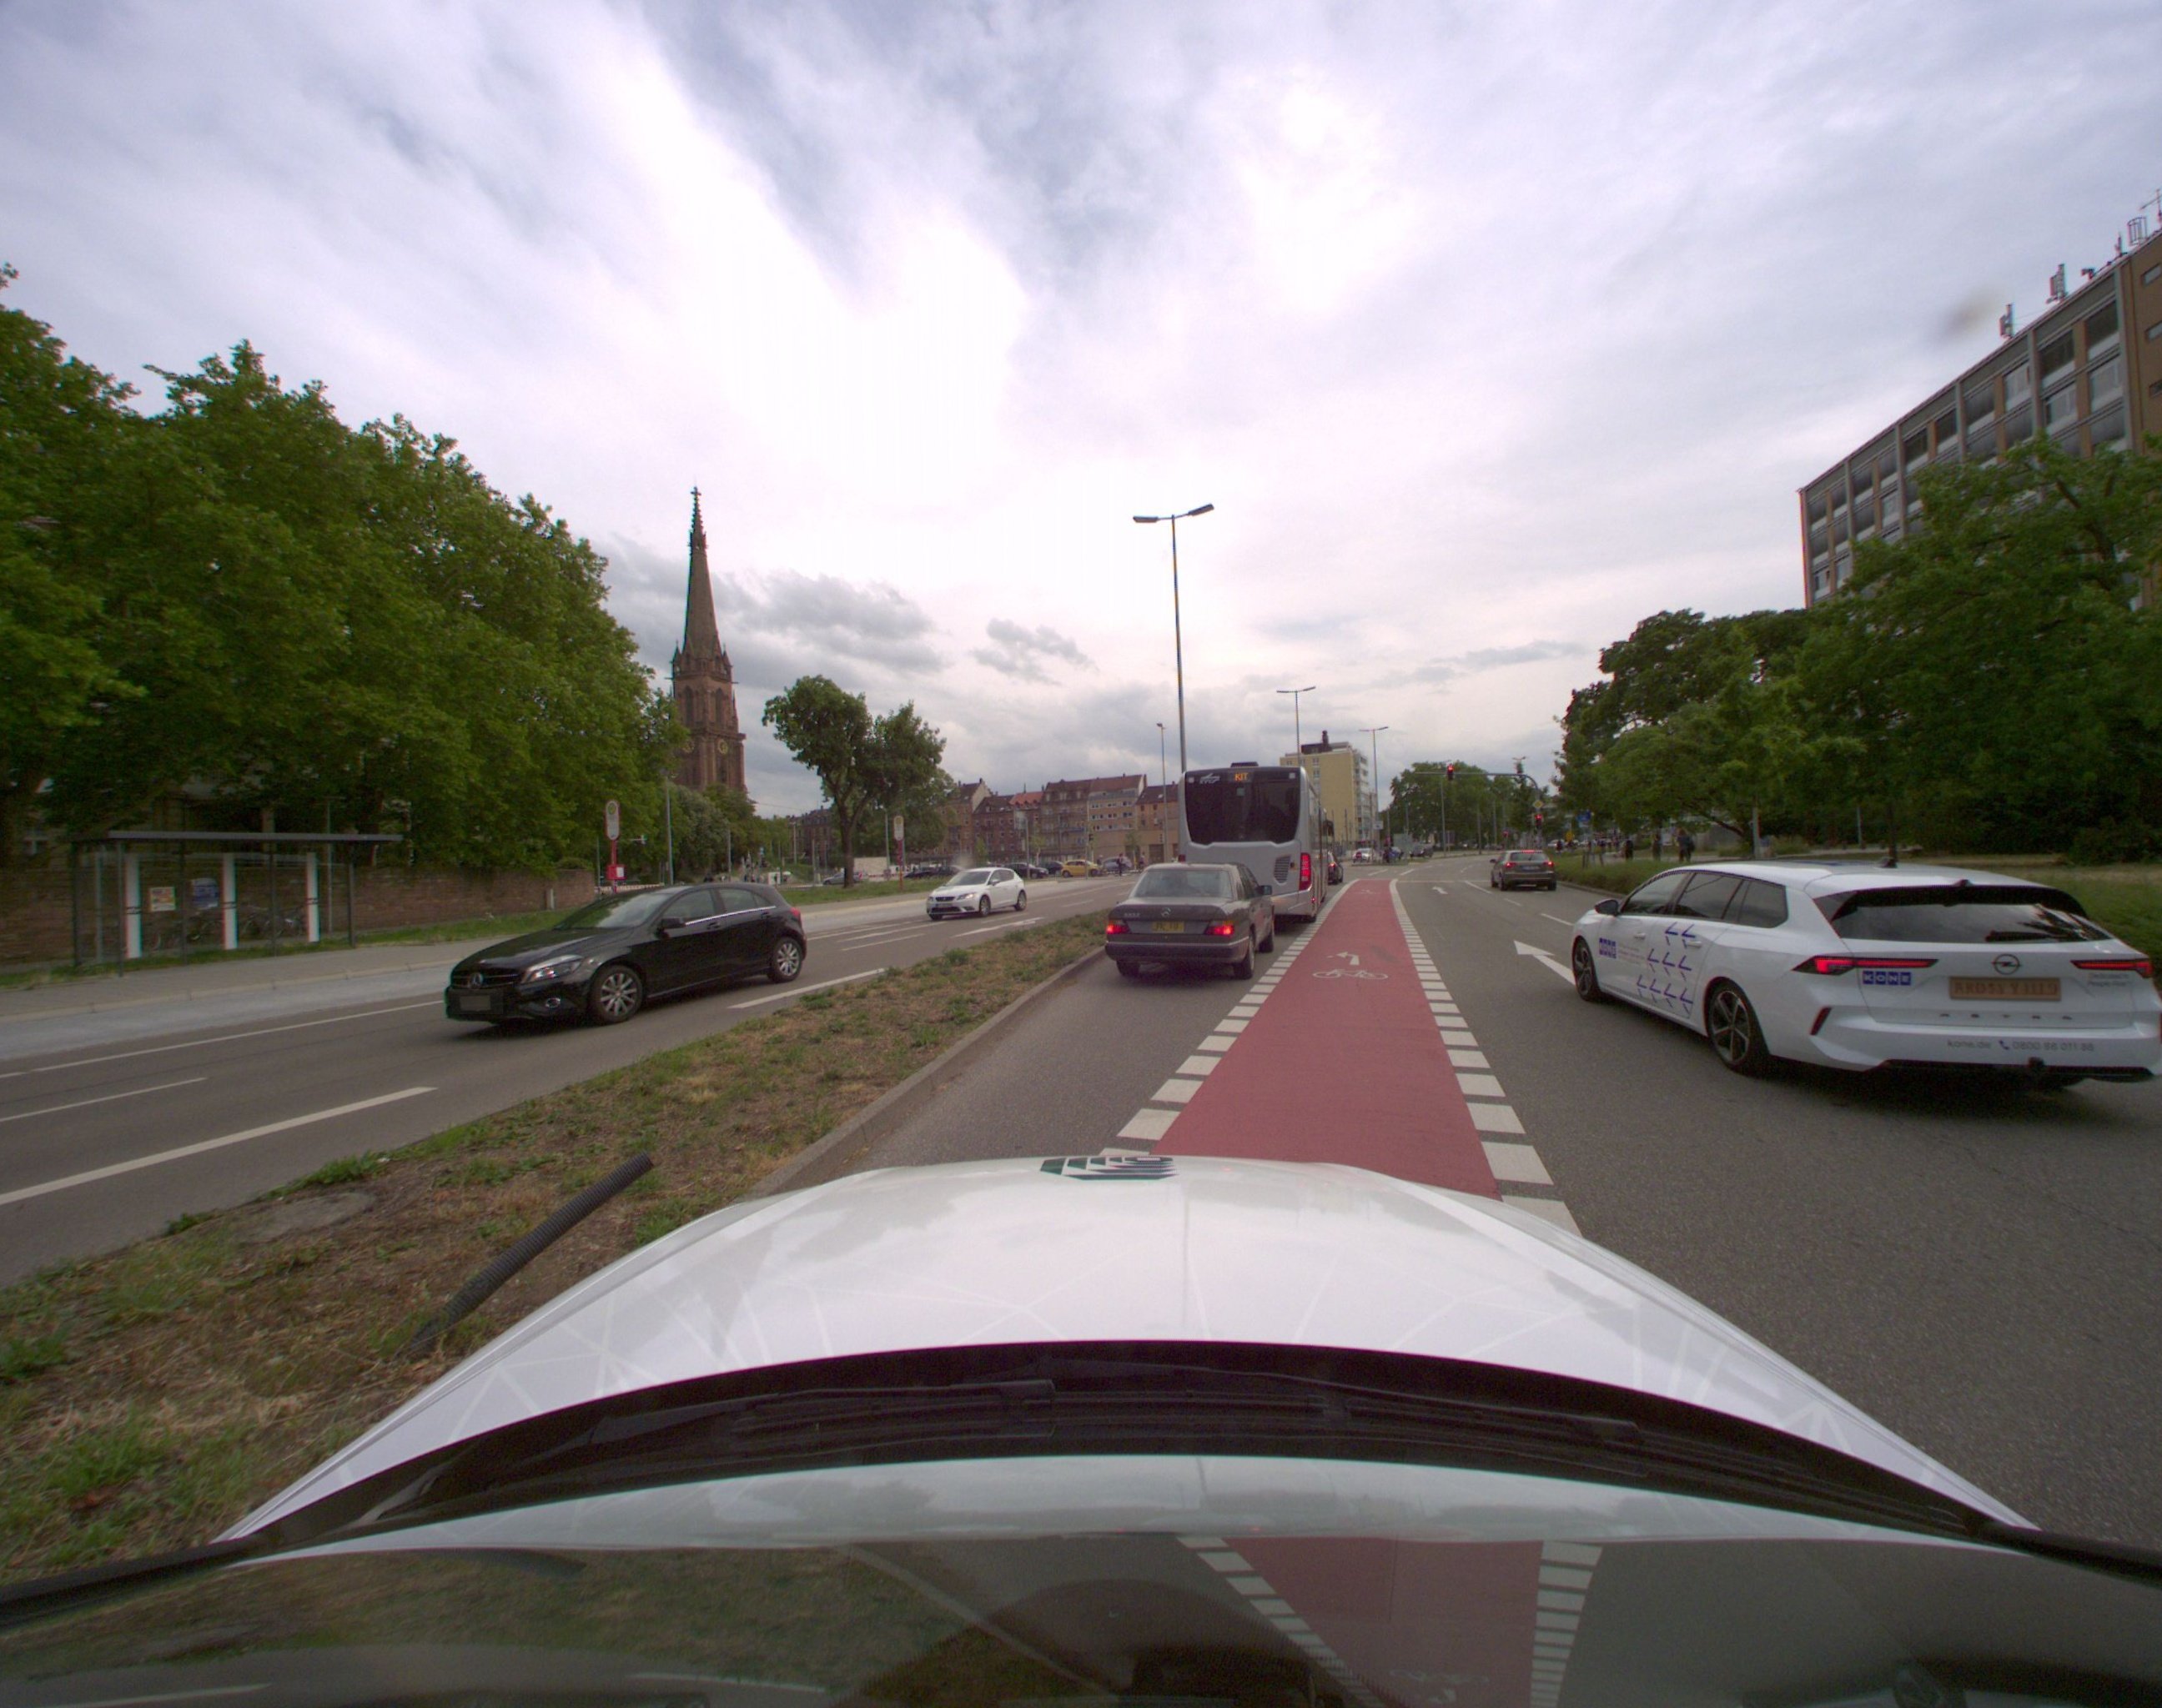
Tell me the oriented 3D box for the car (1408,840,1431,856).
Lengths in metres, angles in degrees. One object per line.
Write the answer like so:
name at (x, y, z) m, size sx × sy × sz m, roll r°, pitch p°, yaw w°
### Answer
car at (47.390, -0.875, 113.977) m, size 1.974 × 2.013 × 4.026 m, roll -3°, pitch 0°, yaw 36°

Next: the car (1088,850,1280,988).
car at (1.619, 0.739, 11.215) m, size 1.747 × 1.489 × 4.191 m, roll -3°, pitch 0°, yaw 19°

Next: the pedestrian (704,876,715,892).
pedestrian at (-37.152, 2.963, 81.428) m, size 0.557 × 1.560 × 0.728 m, roll -3°, pitch -1°, yaw 13°

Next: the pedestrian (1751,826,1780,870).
pedestrian at (23.644, -0.219, 28.143) m, size 0.650 × 1.470 × 0.565 m, roll -3°, pitch -1°, yaw 36°

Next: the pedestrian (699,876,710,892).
pedestrian at (-37.960, 2.982, 82.092) m, size 0.557 × 1.560 × 0.728 m, roll -3°, pitch -1°, yaw 13°

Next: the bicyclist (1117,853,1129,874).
bicyclist at (3.394, 0.739, 65.316) m, size 0.780 × 1.643 × 0.575 m, roll -3°, pitch -1°, yaw 19°

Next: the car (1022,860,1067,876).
car at (-3.309, 1.288, 74.386) m, size 3.736 × 1.394 × 1.591 m, roll -1°, pitch 0°, yaw 14°

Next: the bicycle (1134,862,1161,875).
bicycle at (5.250, 1.158, 64.381) m, size 1.949 × 0.982 × 0.634 m, roll -3°, pitch -1°, yaw 16°

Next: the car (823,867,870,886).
car at (-23.212, 2.242, 80.583) m, size 4.124 × 1.649 × 1.653 m, roll -3°, pitch 0°, yaw 13°

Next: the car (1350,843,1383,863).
car at (33.363, -0.175, 95.067) m, size 2.558 × 2.109 × 5.636 m, roll -3°, pitch 0°, yaw 30°

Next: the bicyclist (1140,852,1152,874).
bicyclist at (5.125, 0.700, 64.417) m, size 0.780 × 1.643 × 0.616 m, roll -3°, pitch -1°, yaw 17°

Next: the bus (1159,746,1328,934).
bus at (4.171, -0.260, 19.103) m, size 2.809 × 3.390 × 8.221 m, roll -2°, pitch 0°, yaw 18°

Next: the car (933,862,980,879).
car at (-10.983, 1.437, 71.762) m, size 3.736 × 1.394 × 1.591 m, roll -1°, pitch 0°, yaw 14°

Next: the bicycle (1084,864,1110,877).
bicycle at (1.273, 1.361, 66.172) m, size 1.950 × 0.982 × 0.633 m, roll -3°, pitch -1°, yaw 14°

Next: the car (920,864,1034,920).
car at (-3.089, 1.125, 25.173) m, size 1.682 × 1.443 × 4.196 m, roll -3°, pitch -1°, yaw 20°

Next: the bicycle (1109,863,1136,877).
bicycle at (3.329, 1.279, 65.328) m, size 1.948 × 0.982 × 0.634 m, roll -3°, pitch -1°, yaw 18°

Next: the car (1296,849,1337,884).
car at (10.706, 0.533, 36.977) m, size 1.642 × 1.396 × 3.877 m, roll -2°, pitch 0°, yaw 17°

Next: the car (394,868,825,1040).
car at (-5.315, 1.033, 9.991) m, size 1.740 × 1.489 × 4.399 m, roll -4°, pitch -1°, yaw 20°

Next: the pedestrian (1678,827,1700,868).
pedestrian at (25.867, -0.282, 34.638) m, size 0.640 × 1.713 × 0.565 m, roll -3°, pitch -1°, yaw 34°

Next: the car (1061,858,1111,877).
car at (0.442, 1.155, 68.886) m, size 3.828 × 1.517 × 1.667 m, roll -1°, pitch 0°, yaw 14°

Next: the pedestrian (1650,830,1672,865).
pedestrian at (29.498, -0.328, 41.399) m, size 0.794 × 1.713 × 0.770 m, roll -3°, pitch -1°, yaw 32°

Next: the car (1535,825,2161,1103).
car at (5.483, 0.586, 6.718) m, size 1.728 × 1.439 × 4.799 m, roll -2°, pitch 0°, yaw 13°

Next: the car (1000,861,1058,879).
car at (-4.471, 1.351, 70.064) m, size 4.635 × 1.475 × 1.667 m, roll -1°, pitch 0°, yaw 14°

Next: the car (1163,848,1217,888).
car at (5.352, 0.647, 39.385) m, size 1.767 × 1.730 × 4.393 m, roll -3°, pitch -1°, yaw 17°

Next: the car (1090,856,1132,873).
car at (2.681, 0.955, 73.208) m, size 3.659 × 1.394 × 1.585 m, roll -1°, pitch 0°, yaw 1°

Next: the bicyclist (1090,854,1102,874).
bicyclist at (1.246, 0.813, 66.198) m, size 0.781 × 1.643 × 0.574 m, roll -3°, pitch -1°, yaw 14°

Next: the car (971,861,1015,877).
car at (-8.132, 1.391, 75.482) m, size 3.736 × 1.394 × 1.591 m, roll -1°, pitch 0°, yaw 14°

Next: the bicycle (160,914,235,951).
bicycle at (-25.230, 2.233, 23.292) m, size 0.480 × 0.907 × 1.618 m, roll 0°, pitch -1°, yaw -4°

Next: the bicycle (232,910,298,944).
bicycle at (-25.315, 2.242, 25.297) m, size 0.480 × 0.907 × 1.618 m, roll 0°, pitch -1°, yaw -4°

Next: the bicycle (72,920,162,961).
bicycle at (-24.960, 2.219, 21.115) m, size 0.480 × 0.907 × 1.618 m, roll 0°, pitch -1°, yaw -4°

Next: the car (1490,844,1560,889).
car at (16.047, 0.414, 29.595) m, size 1.709 × 1.457 × 3.755 m, roll -3°, pitch 0°, yaw 21°
